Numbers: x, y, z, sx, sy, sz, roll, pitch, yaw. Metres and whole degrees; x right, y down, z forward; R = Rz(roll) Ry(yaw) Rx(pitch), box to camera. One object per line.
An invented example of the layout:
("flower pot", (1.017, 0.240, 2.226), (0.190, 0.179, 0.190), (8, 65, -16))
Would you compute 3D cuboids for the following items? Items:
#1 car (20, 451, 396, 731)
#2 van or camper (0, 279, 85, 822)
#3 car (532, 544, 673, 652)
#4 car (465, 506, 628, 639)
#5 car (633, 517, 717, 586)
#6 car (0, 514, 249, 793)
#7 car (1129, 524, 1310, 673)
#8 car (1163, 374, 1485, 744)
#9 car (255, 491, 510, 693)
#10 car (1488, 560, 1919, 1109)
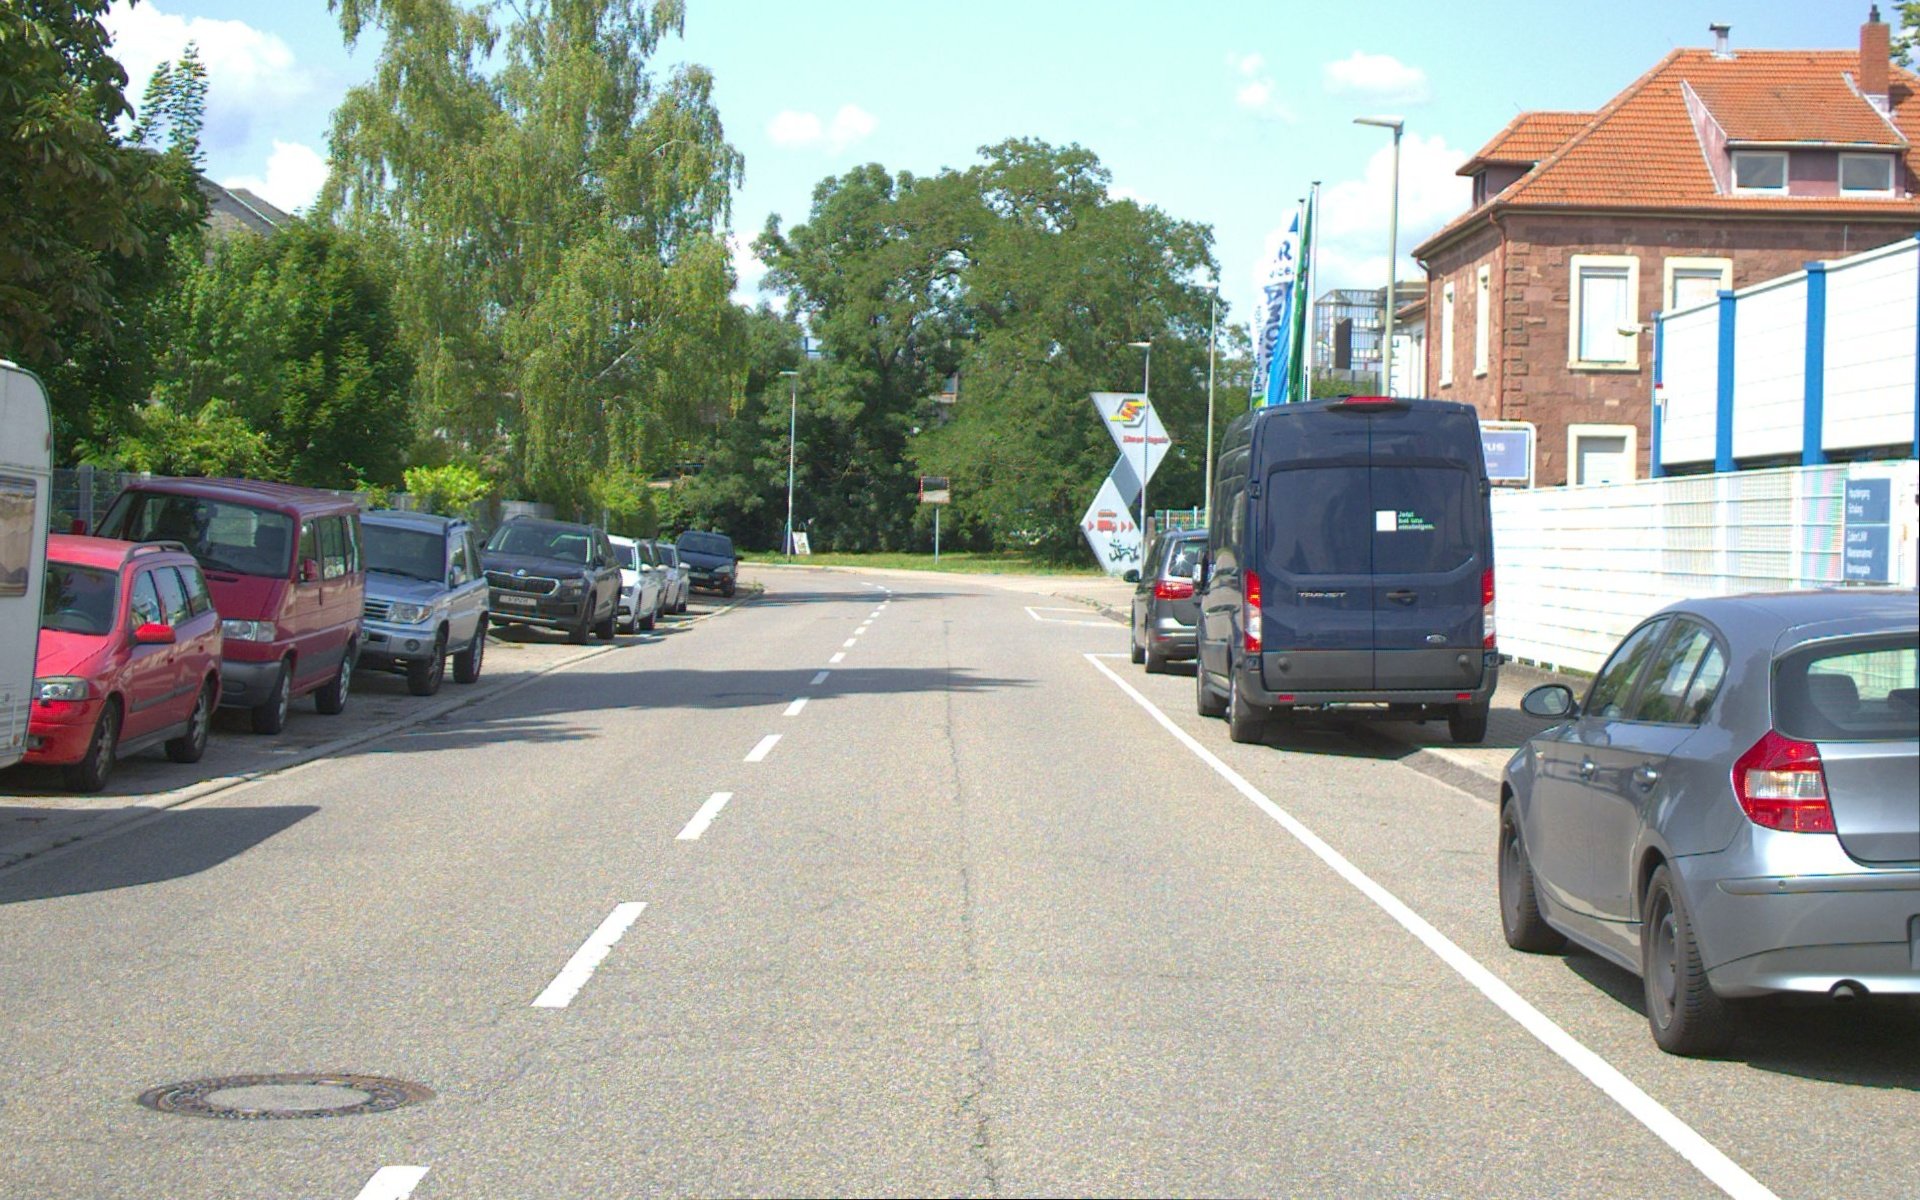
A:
("car", (-6.164, -0.108, 28.787), (1.898, 1.948, 4.958), (6, 1, -1))
("van or camper", (-5.980, -0.270, 15.610), (2.262, 2.794, 6.834), (5, 1, -2))
("car", (-5.754, -0.076, 55.772), (1.700, 1.589, 4.787), (2, 1, 0))
("car", (-5.894, -0.437, 49.461), (1.610, 1.739, 4.636), (3, 1, 1))
("car", (-6.946, -1.186, 84.179), (1.682, 1.507, 4.158), (5, 1, -1))
("car", (-5.964, 0.264, 22.505), (1.625, 1.527, 4.269), (5, 1, 0))
("car", (3.050, -0.067, 41.192), (1.825, 1.659, 4.556), (0, 1, 0))
("car", (2.940, -0.371, 29.137), (1.937, 2.739, 6.155), (2, 1, -1))
("car", (-5.782, -0.124, 34.814), (1.700, 1.795, 3.826), (5, 1, 2))
("car", (2.943, 0.646, 11.738), (1.572, 1.502, 4.133), (1, 1, -1))
